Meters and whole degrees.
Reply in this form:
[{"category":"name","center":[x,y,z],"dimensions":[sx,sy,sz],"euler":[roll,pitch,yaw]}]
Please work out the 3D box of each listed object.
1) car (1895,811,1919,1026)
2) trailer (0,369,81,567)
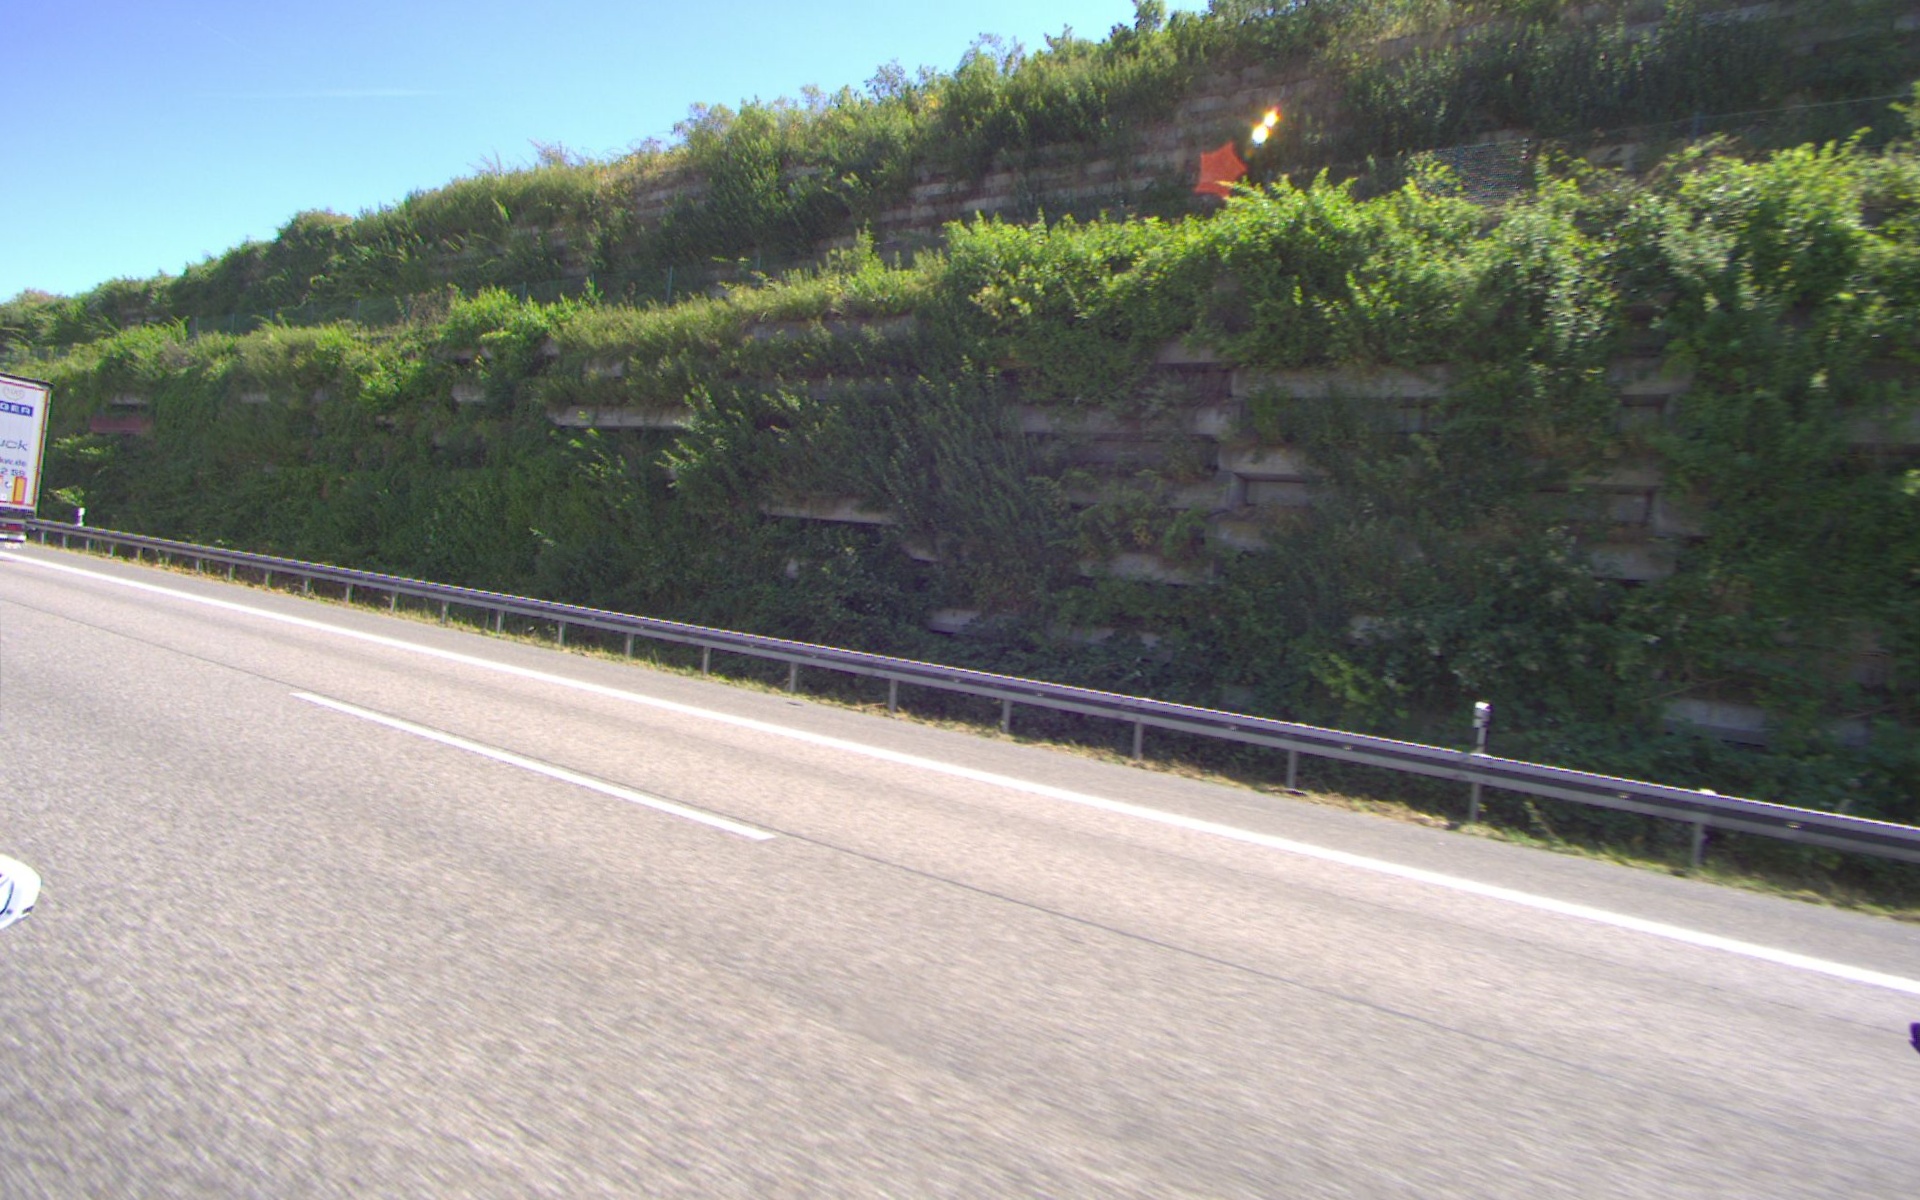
[{"category":"car","center":[6.764,1.701,3.767],"dimensions":[4.378,1.445,1.687],"euler":[7,-1,31]},{"category":"trailer","center":[-26.629,-3.592,25.013],"dimensions":[13.207,4.173,3.186],"euler":[7,1,32]}]
